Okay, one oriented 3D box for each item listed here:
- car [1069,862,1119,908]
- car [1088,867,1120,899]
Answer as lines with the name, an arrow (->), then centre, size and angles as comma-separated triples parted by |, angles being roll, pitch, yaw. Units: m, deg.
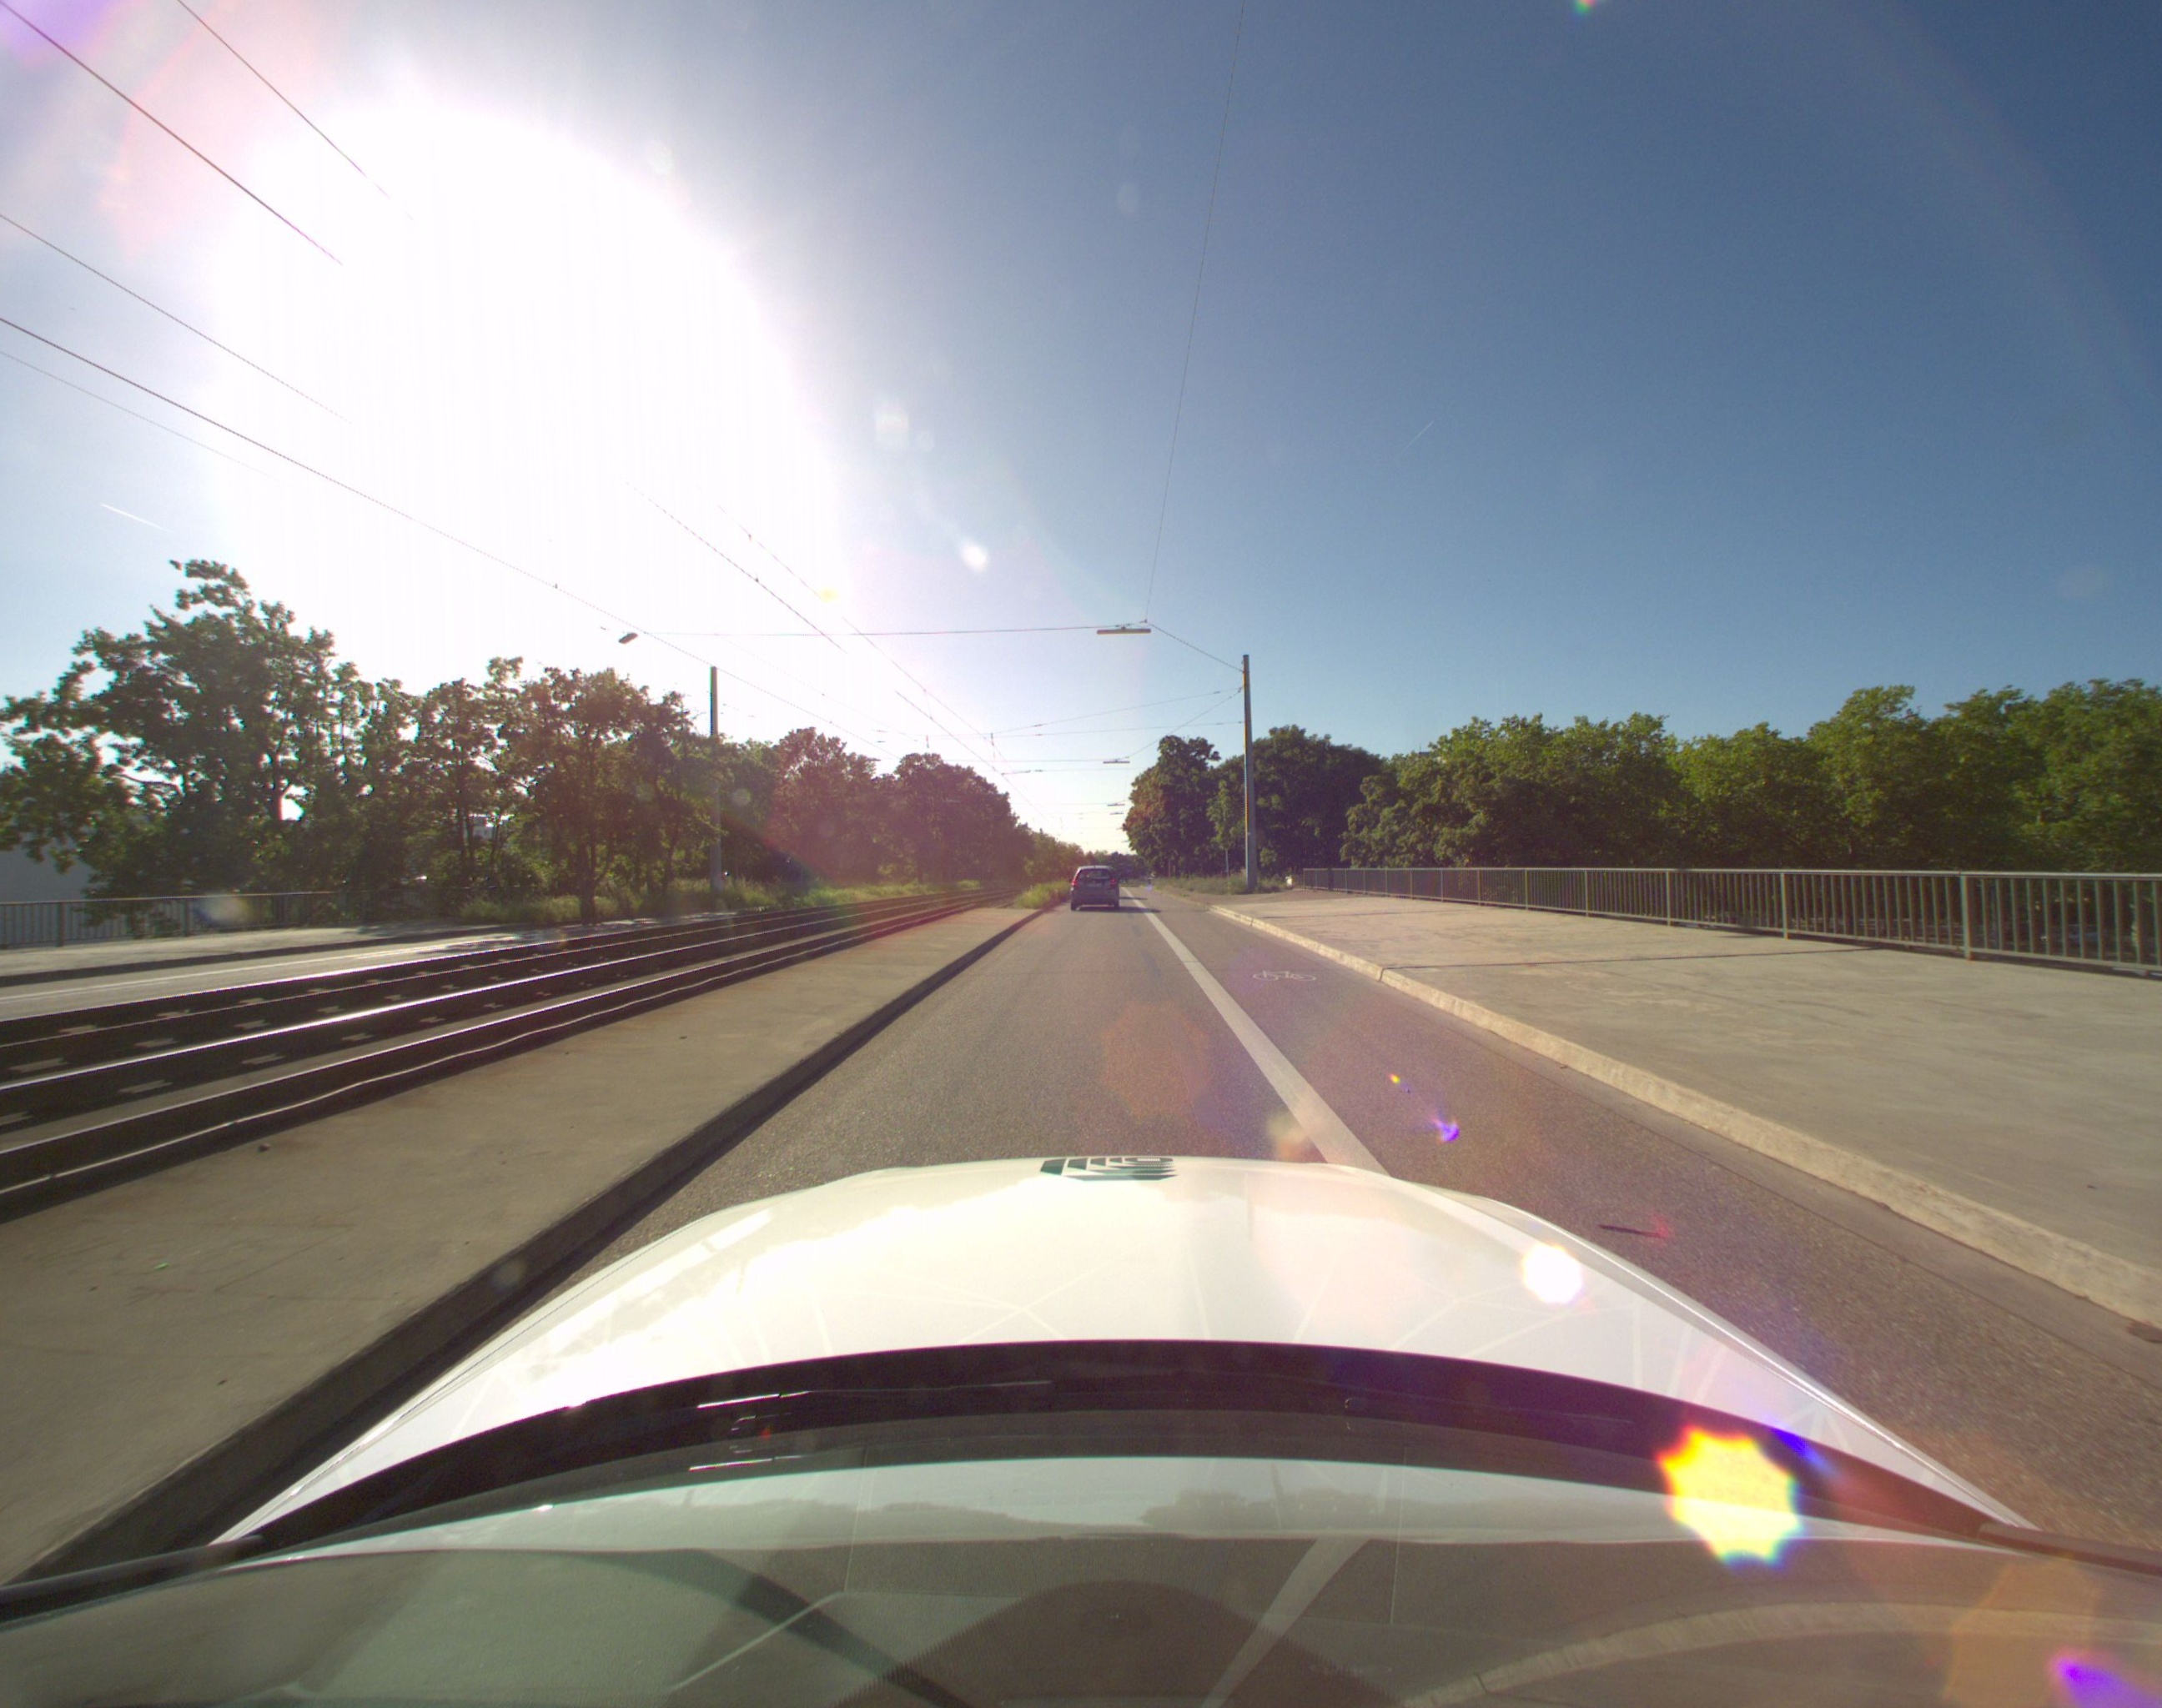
car -> 0.538, 1.102, 29.128 | 1.663, 1.508, 3.813 | 0, -2, 3
car -> 1.251, 1.499, 43.133 | 1.648, 1.507, 3.814 | 0, 0, 3
